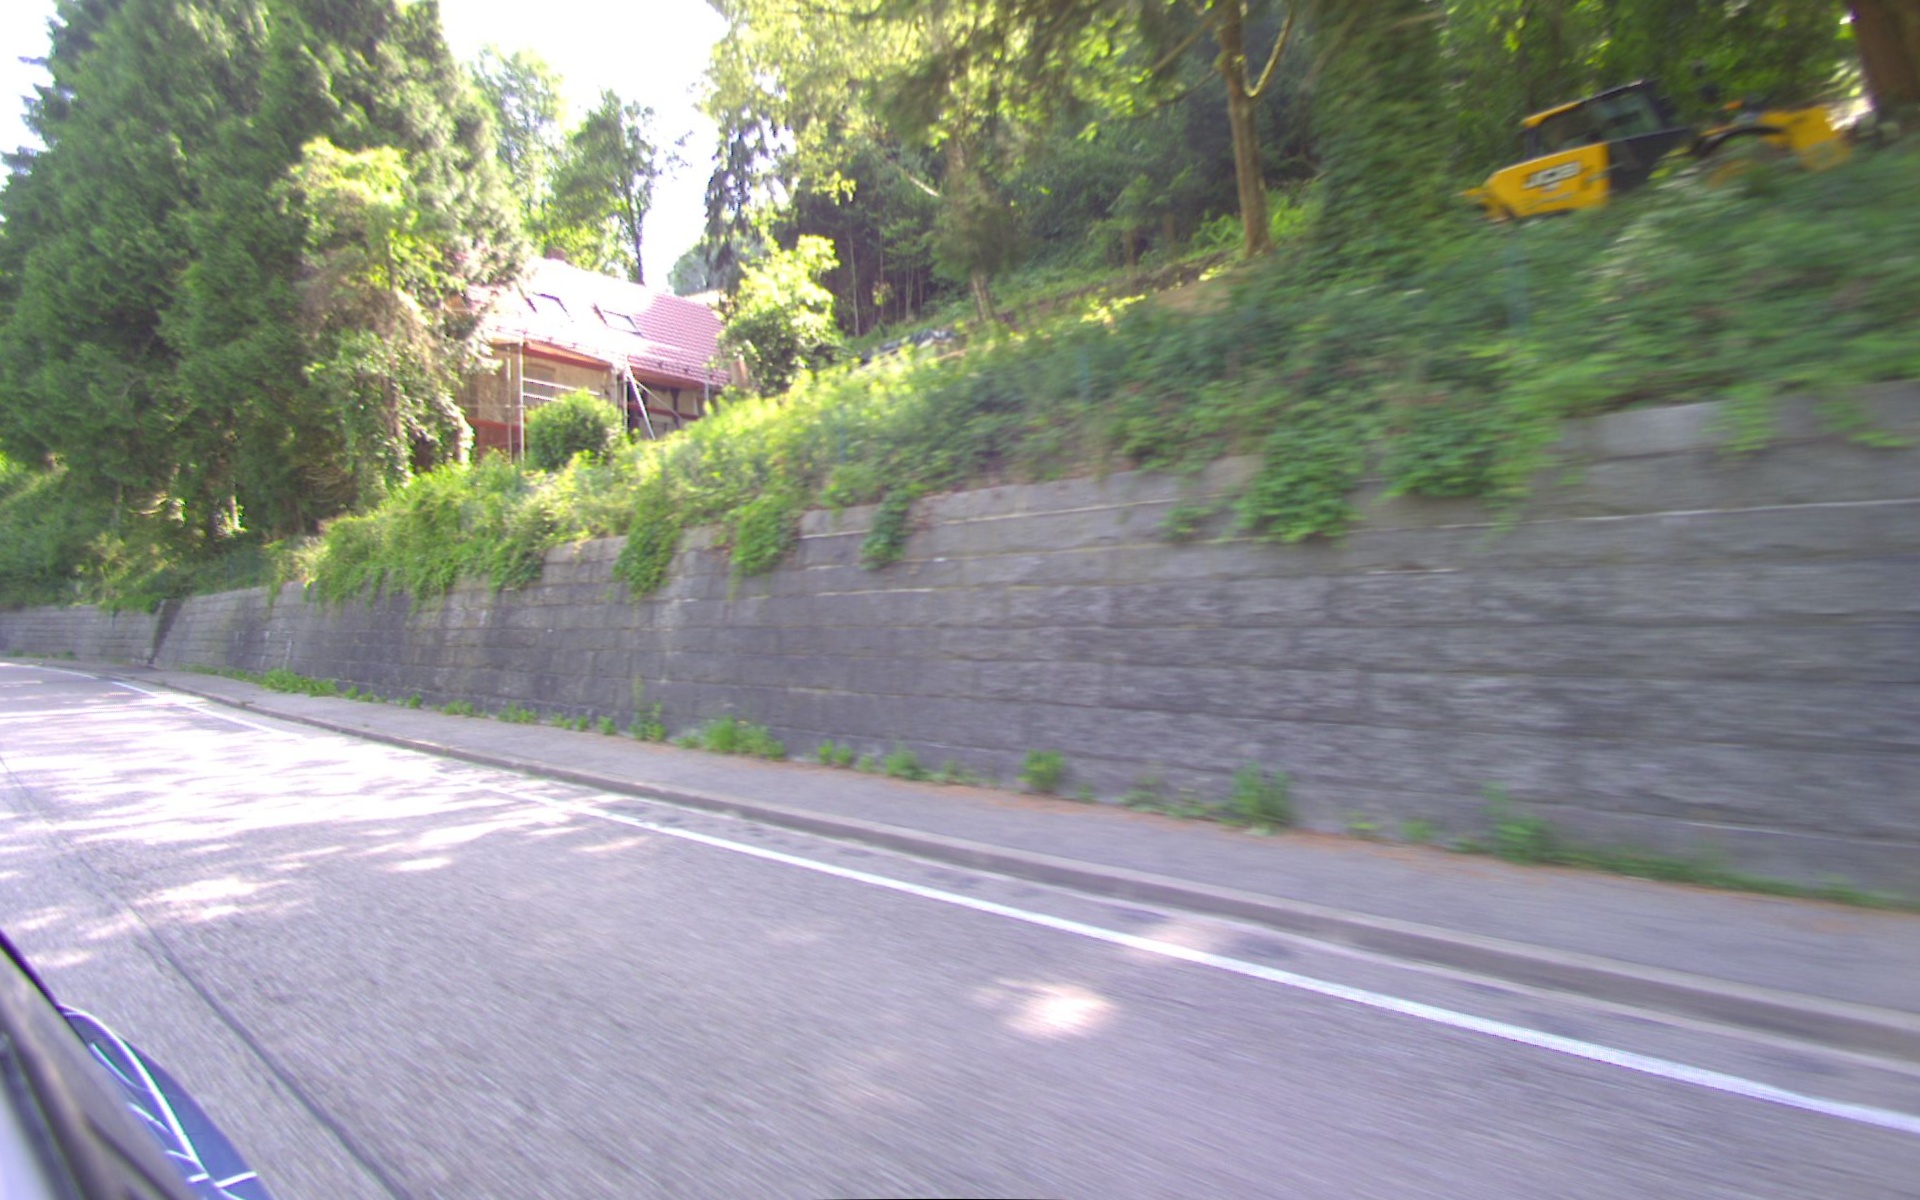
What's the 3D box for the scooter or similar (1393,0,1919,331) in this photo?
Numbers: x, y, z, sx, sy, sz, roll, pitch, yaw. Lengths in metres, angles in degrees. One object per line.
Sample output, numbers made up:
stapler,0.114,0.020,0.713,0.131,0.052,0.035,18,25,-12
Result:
scooter or similar,7.073,-4.329,10.341,4.407,2.041,1.956,-1,3,44
